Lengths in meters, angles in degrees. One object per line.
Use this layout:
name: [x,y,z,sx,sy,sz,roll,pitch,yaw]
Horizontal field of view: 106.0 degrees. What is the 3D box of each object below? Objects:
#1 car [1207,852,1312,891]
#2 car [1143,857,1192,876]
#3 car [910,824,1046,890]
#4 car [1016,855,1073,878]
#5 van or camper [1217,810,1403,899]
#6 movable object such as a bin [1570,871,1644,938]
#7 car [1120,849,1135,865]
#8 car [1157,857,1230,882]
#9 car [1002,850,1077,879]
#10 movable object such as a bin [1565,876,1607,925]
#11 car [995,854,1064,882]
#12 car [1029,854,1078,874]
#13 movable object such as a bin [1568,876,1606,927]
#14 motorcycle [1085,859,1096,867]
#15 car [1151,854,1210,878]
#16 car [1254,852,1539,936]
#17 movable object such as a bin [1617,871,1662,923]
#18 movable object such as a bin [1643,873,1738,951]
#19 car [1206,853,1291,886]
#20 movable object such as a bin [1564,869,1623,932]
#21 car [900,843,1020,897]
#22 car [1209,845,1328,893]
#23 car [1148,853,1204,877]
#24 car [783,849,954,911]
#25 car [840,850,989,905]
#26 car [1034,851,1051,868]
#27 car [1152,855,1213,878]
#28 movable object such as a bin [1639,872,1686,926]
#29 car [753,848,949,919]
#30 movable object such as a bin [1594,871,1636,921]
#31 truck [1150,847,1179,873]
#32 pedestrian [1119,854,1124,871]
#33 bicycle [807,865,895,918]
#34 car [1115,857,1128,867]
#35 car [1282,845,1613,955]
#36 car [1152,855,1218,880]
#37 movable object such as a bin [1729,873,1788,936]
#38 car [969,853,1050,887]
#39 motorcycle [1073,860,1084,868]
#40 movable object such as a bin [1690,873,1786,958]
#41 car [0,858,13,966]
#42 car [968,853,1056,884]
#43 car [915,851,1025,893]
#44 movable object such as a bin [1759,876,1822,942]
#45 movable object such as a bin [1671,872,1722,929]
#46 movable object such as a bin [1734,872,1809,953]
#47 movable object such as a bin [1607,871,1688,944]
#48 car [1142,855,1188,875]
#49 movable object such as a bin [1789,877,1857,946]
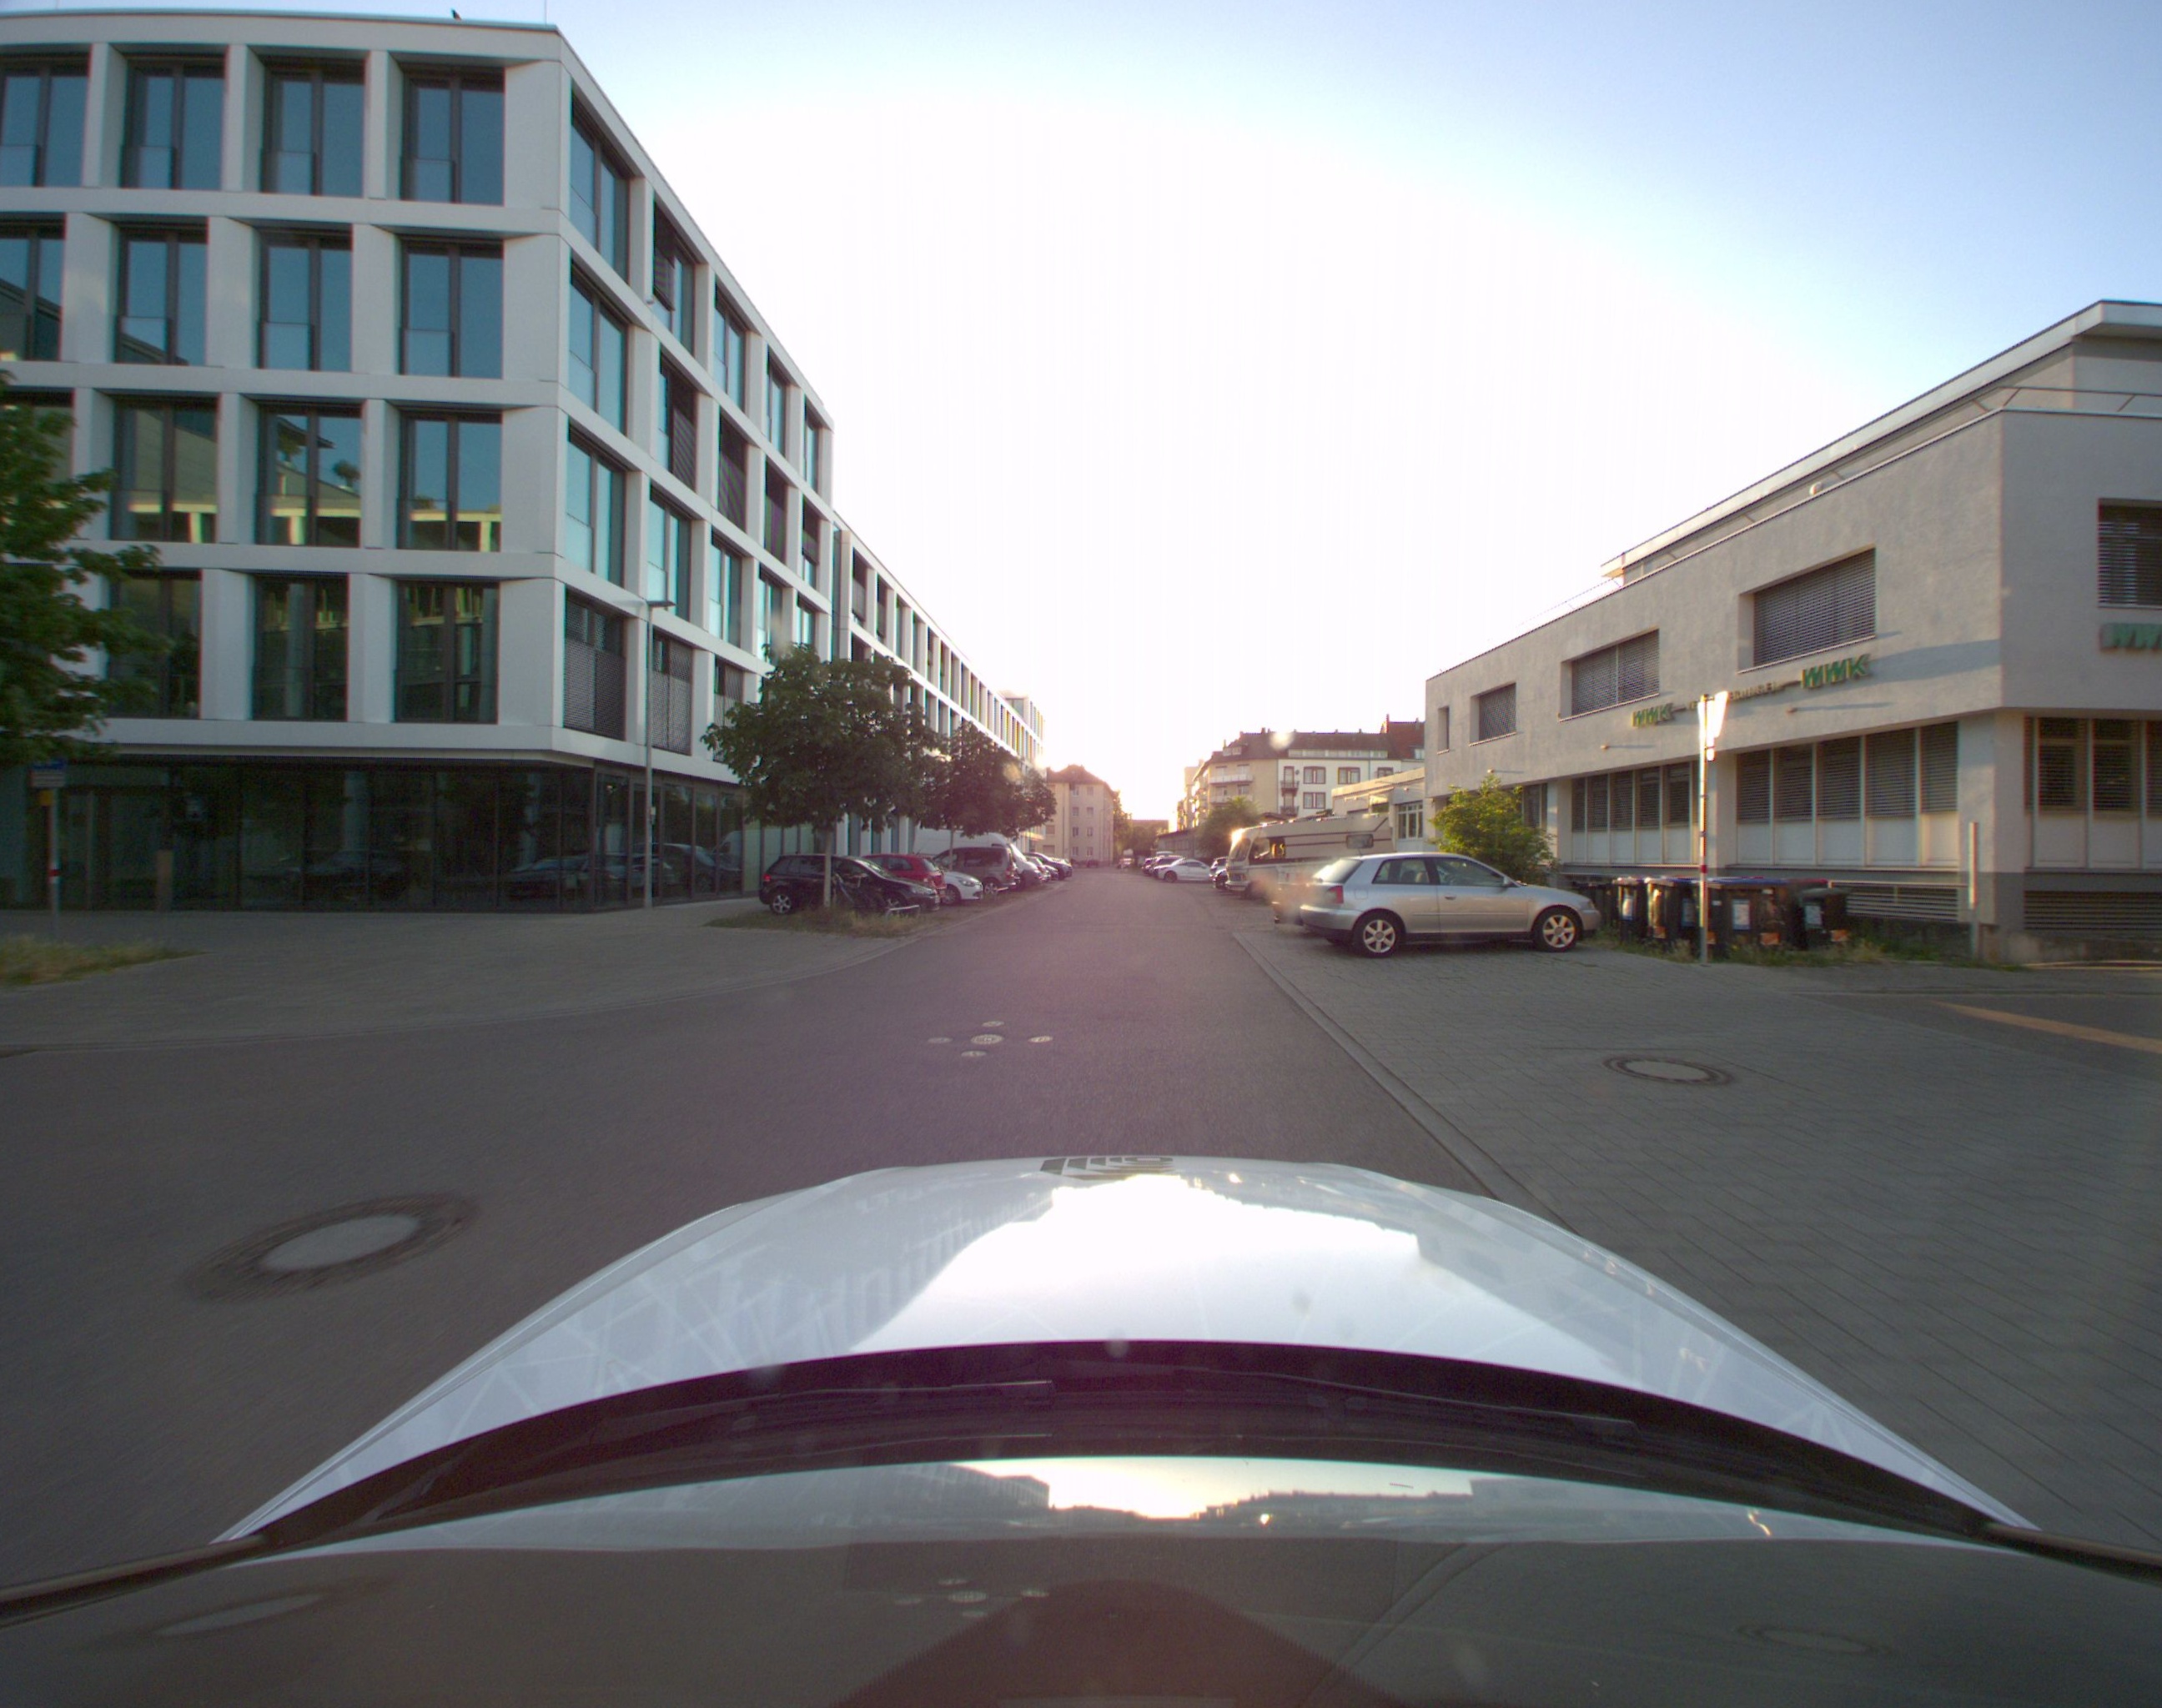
car: [7.478,0.716,34.353,3.994,1.564,1.710,-1,0,-3]
car: [6.970,1.012,66.115,3.747,1.444,1.845,1,-1,0]
car: [-4.345,0.115,34.926,5.356,2.633,2.080,1,0,4]
car: [-2.515,0.846,56.101,3.647,1.511,1.699,1,0,6]
van or camper: [7.804,0.022,28.242,5.761,2.864,2.486,-1,-1,0]
movable object such as a bin: [8.344,0.784,12.943,0.704,1.021,0.710,1,0,-7]
car: [9.443,0.643,165.027,2.607,3.269,7.707,-1,-1,5]
car: [6.613,0.910,48.363,4.183,1.367,1.826,1,0,5]
car: [-2.705,0.663,53.387,4.595,1.706,2.008,1,0,6]
movable object such as a bin: [9.016,0.823,14.552,0.498,0.857,0.395,1,0,-3]
car: [-2.961,0.787,47.267,3.768,1.522,1.694,1,0,1]
car: [-2.249,0.806,68.112,3.909,1.511,1.689,1,0,4]
movable object such as a bin: [8.789,0.823,14.157,0.413,0.857,0.395,1,0,-3]
motorcycle: [1.385,1.331,117.935,0.682,1.160,2.046,0,-1,29]
car: [7.103,0.837,58.584,3.973,1.619,1.825,1,0,-2]
car: [5.426,0.669,14.413,4.302,1.333,1.895,-1,-1,-1]
movable object such as a bin: [10.244,0.785,14.954,0.465,0.932,0.526,0,-1,0]
movable object such as a bin: [8.292,0.773,11.103,0.755,1.021,0.710,1,0,-7]
car: [7.908,0.733,38.687,3.693,1.479,1.712,-1,0,-1]
movable object such as a bin: [8.556,0.760,13.602,0.620,1.021,0.560,1,0,-7]
car: [-4.351,0.567,29.832,4.096,1.817,1.815,1,0,-1]
car: [7.156,0.582,31.442,4.220,1.741,1.970,-1,-1,5]
car: [7.132,0.820,61.194,3.971,1.609,1.939,1,0,0]
car: [-5.737,0.670,22.314,4.092,1.518,1.846,1,0,2]
car: [-5.003,0.677,24.855,4.092,1.518,1.782,1,0,2]
car: [-4.643,0.664,98.760,1.791,1.979,4.690,0,0,1]
car: [6.932,0.844,55.993,3.969,1.445,1.827,1,-1,1]
movable object such as a bin: [10.279,0.782,14.406,0.465,0.932,0.526,0,-1,0]
car: [-5.411,0.662,19.522,4.093,1.518,1.845,1,0,1]
movable object such as a bin: [10.215,0.789,15.593,0.465,0.932,0.526,0,-1,0]
truck: [7.381,0.522,72.665,2.090,2.200,5.712,0,0,1]
pedestrian: [4.949,1.064,98.721,0.571,2.013,0.557,1,0,4]
bicycle: [-4.905,0.798,17.436,1.688,1.065,0.567,2,0,3]
car: [5.957,1.179,119.769,1.837,1.473,4.081,0,0,3]
car: [5.223,0.619,12.012,4.043,1.407,1.896,-1,0,-1]
car: [6.802,0.881,53.504,4.185,1.503,1.891,1,-1,3]
movable object such as a bin: [10.461,0.769,12.587,0.465,0.932,0.526,0,-1,0]
car: [-3.456,0.768,39.694,3.692,1.495,1.709,1,0,3]
motorcycle: [-0.414,1.450,115.534,0.717,1.079,2.093,0,0,25]
movable object such as a bin: [8.303,0.764,10.313,0.642,1.021,0.710,1,0,-7]
car: [-15.848,0.790,9.554,1.721,1.496,3.721,1,0,-2]
car: [-3.538,0.742,42.433,4.288,1.495,1.797,1,0,4]
car: [-4.335,0.696,32.259,4.096,1.499,1.774,1,0,-1]
movable object such as a bin: [10.409,0.796,11.964,0.465,0.932,0.526,0,-1,0]
movable object such as a bin: [10.411,0.777,13.785,0.465,0.932,0.526,0,-1,0]
movable object such as a bin: [9.034,0.759,10.664,0.642,1.021,0.445,1,0,-7]
movable object such as a bin: [8.352,0.774,12.026,0.704,1.021,0.710,1,0,-7]
car: [7.075,0.921,68.551,3.744,1.535,1.893,1,1,2]
movable object such as a bin: [10.406,0.801,11.434,0.465,0.932,0.526,0,-1,0]
